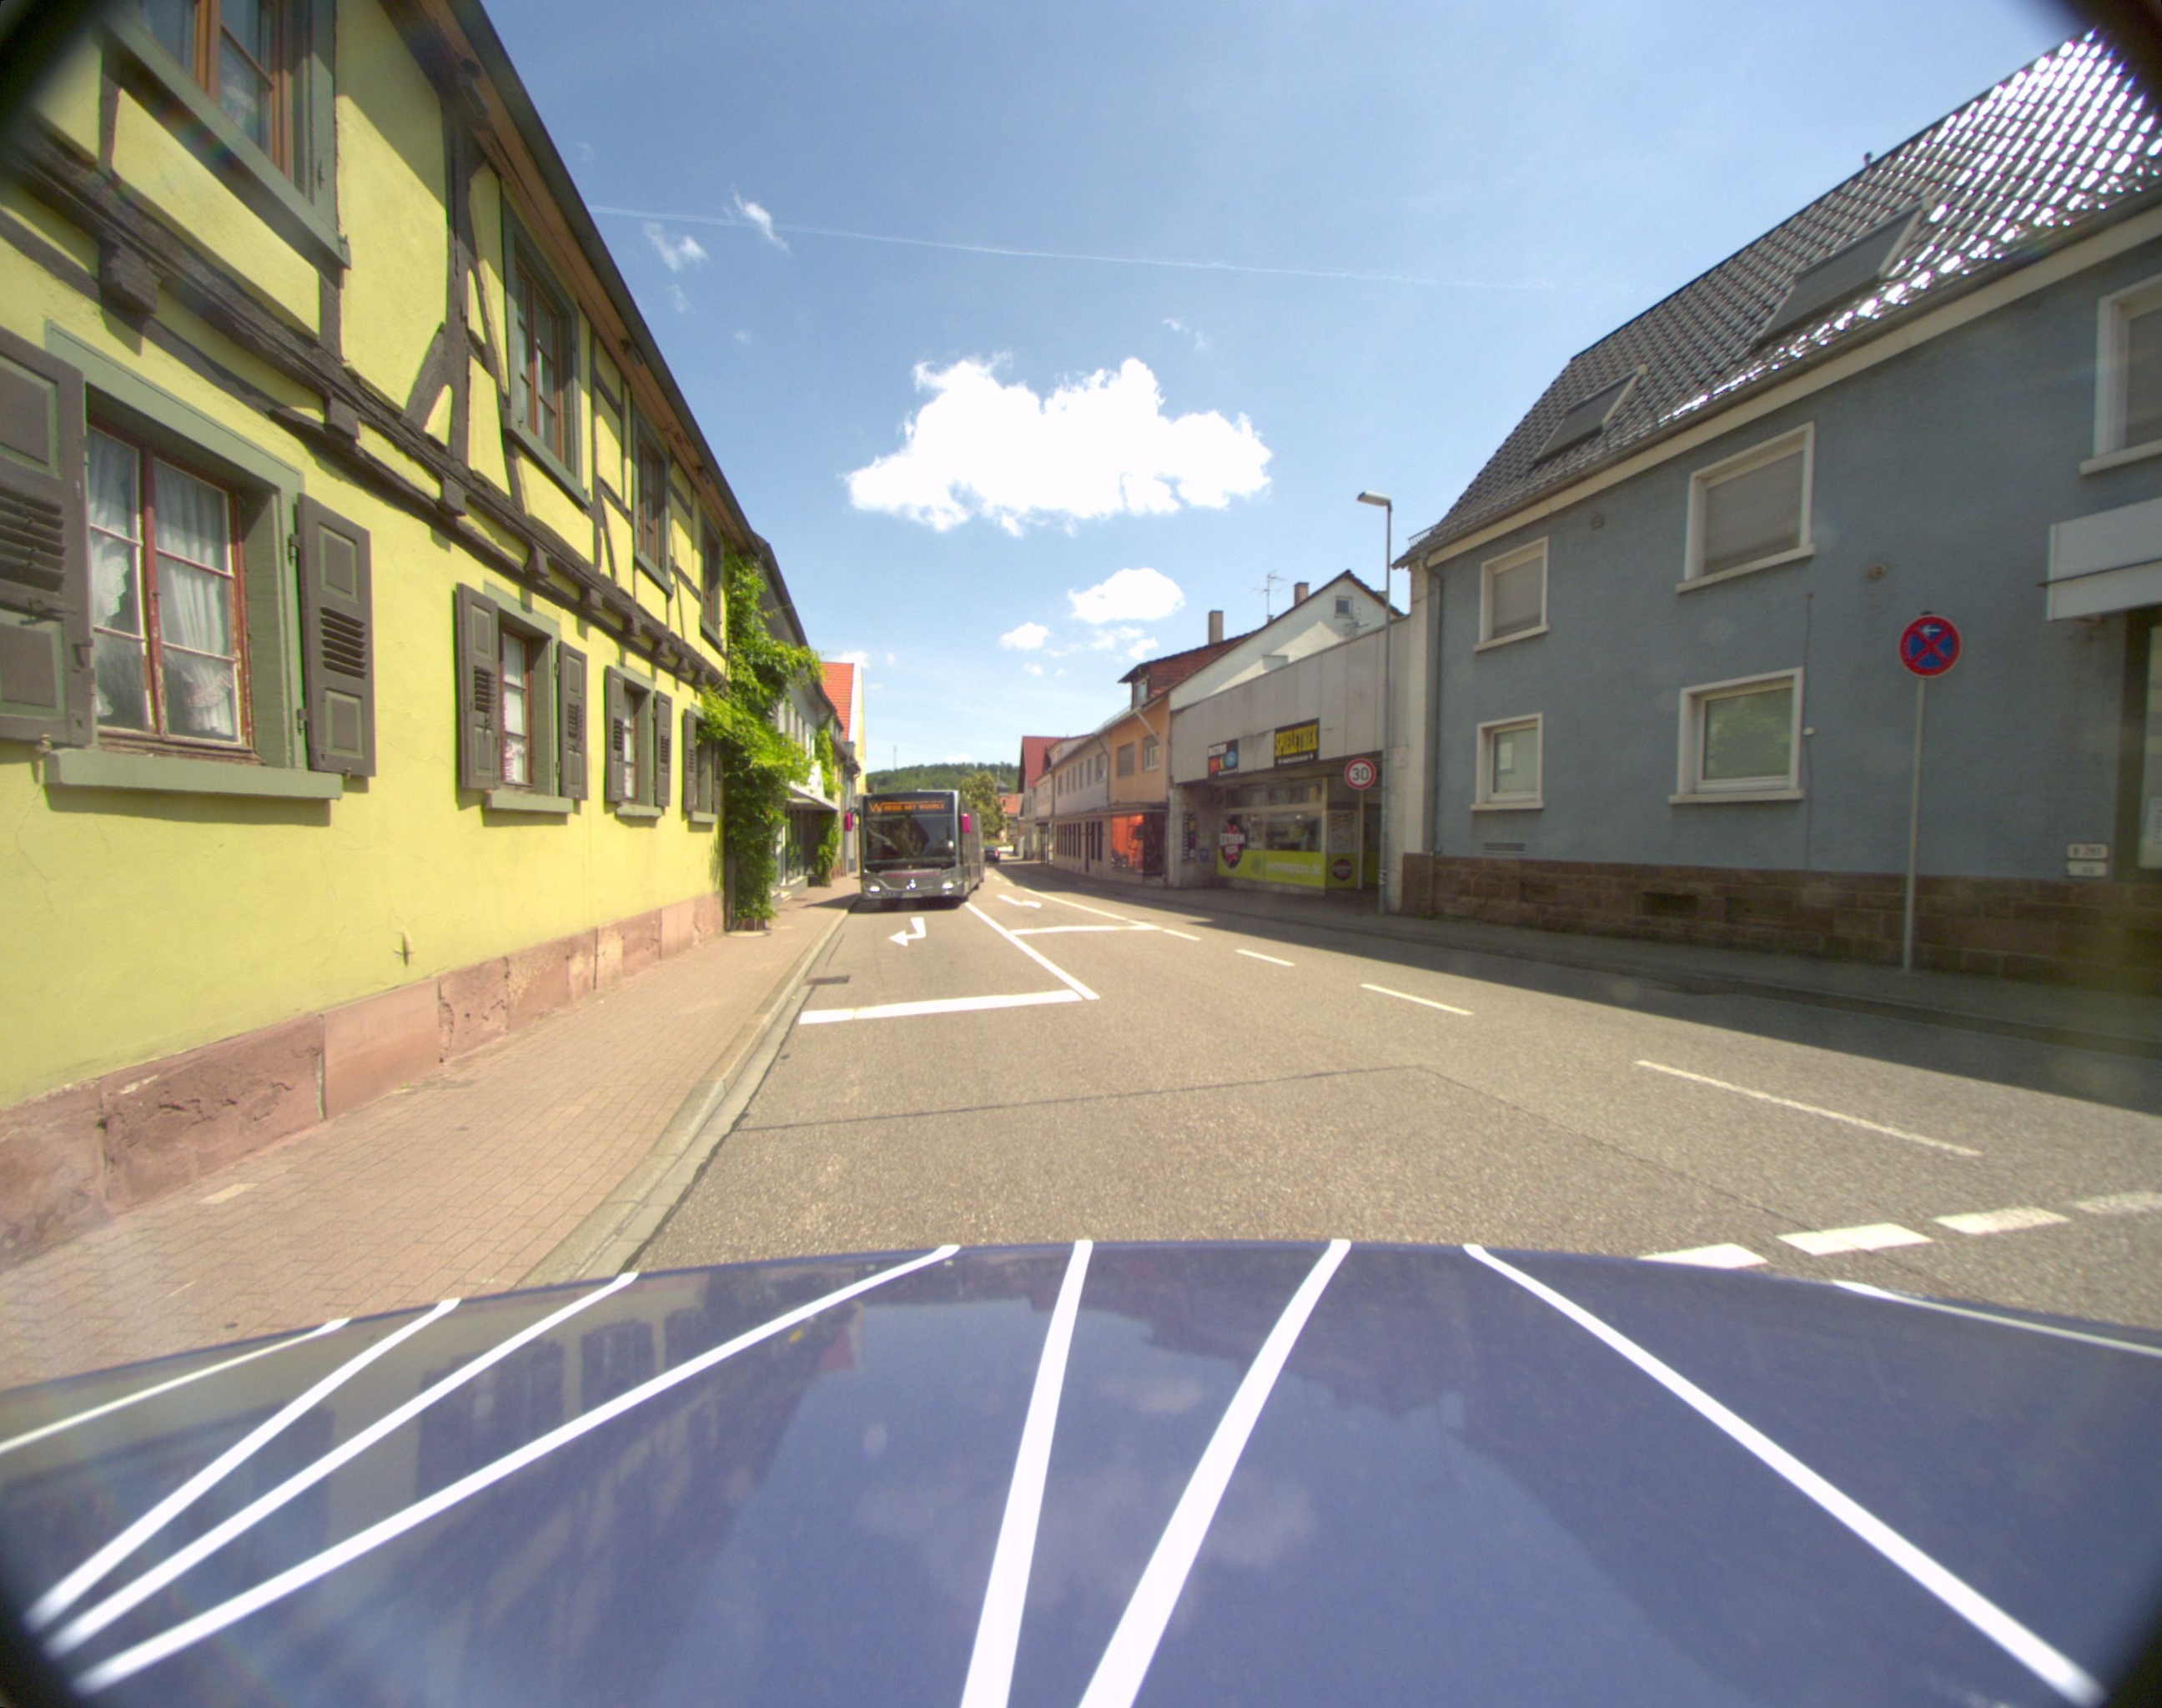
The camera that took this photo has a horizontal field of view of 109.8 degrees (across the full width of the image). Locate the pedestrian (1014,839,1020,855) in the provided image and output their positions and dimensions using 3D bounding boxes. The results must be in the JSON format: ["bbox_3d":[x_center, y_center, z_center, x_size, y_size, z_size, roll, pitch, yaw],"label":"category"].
[{"bbox_3d":[-7.295,-0.821,86.686,0.472,1.754,0.477,-1,3,-33],"label":"pedestrian"}]

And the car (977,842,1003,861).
[{"bbox_3d":[-8.002,-0.239,66.575,1.803,1.478,4.790,2,1,-12],"label":"car"}]

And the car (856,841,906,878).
[{"bbox_3d":[-10.049,0.222,38.410,2.000,1.699,4.096,2,1,-9],"label":"car"}]

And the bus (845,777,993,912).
[{"bbox_3d":[-4.942,-0.313,27.615,2.860,3.186,19.021,-1,1,-5],"label":"bus"}]
